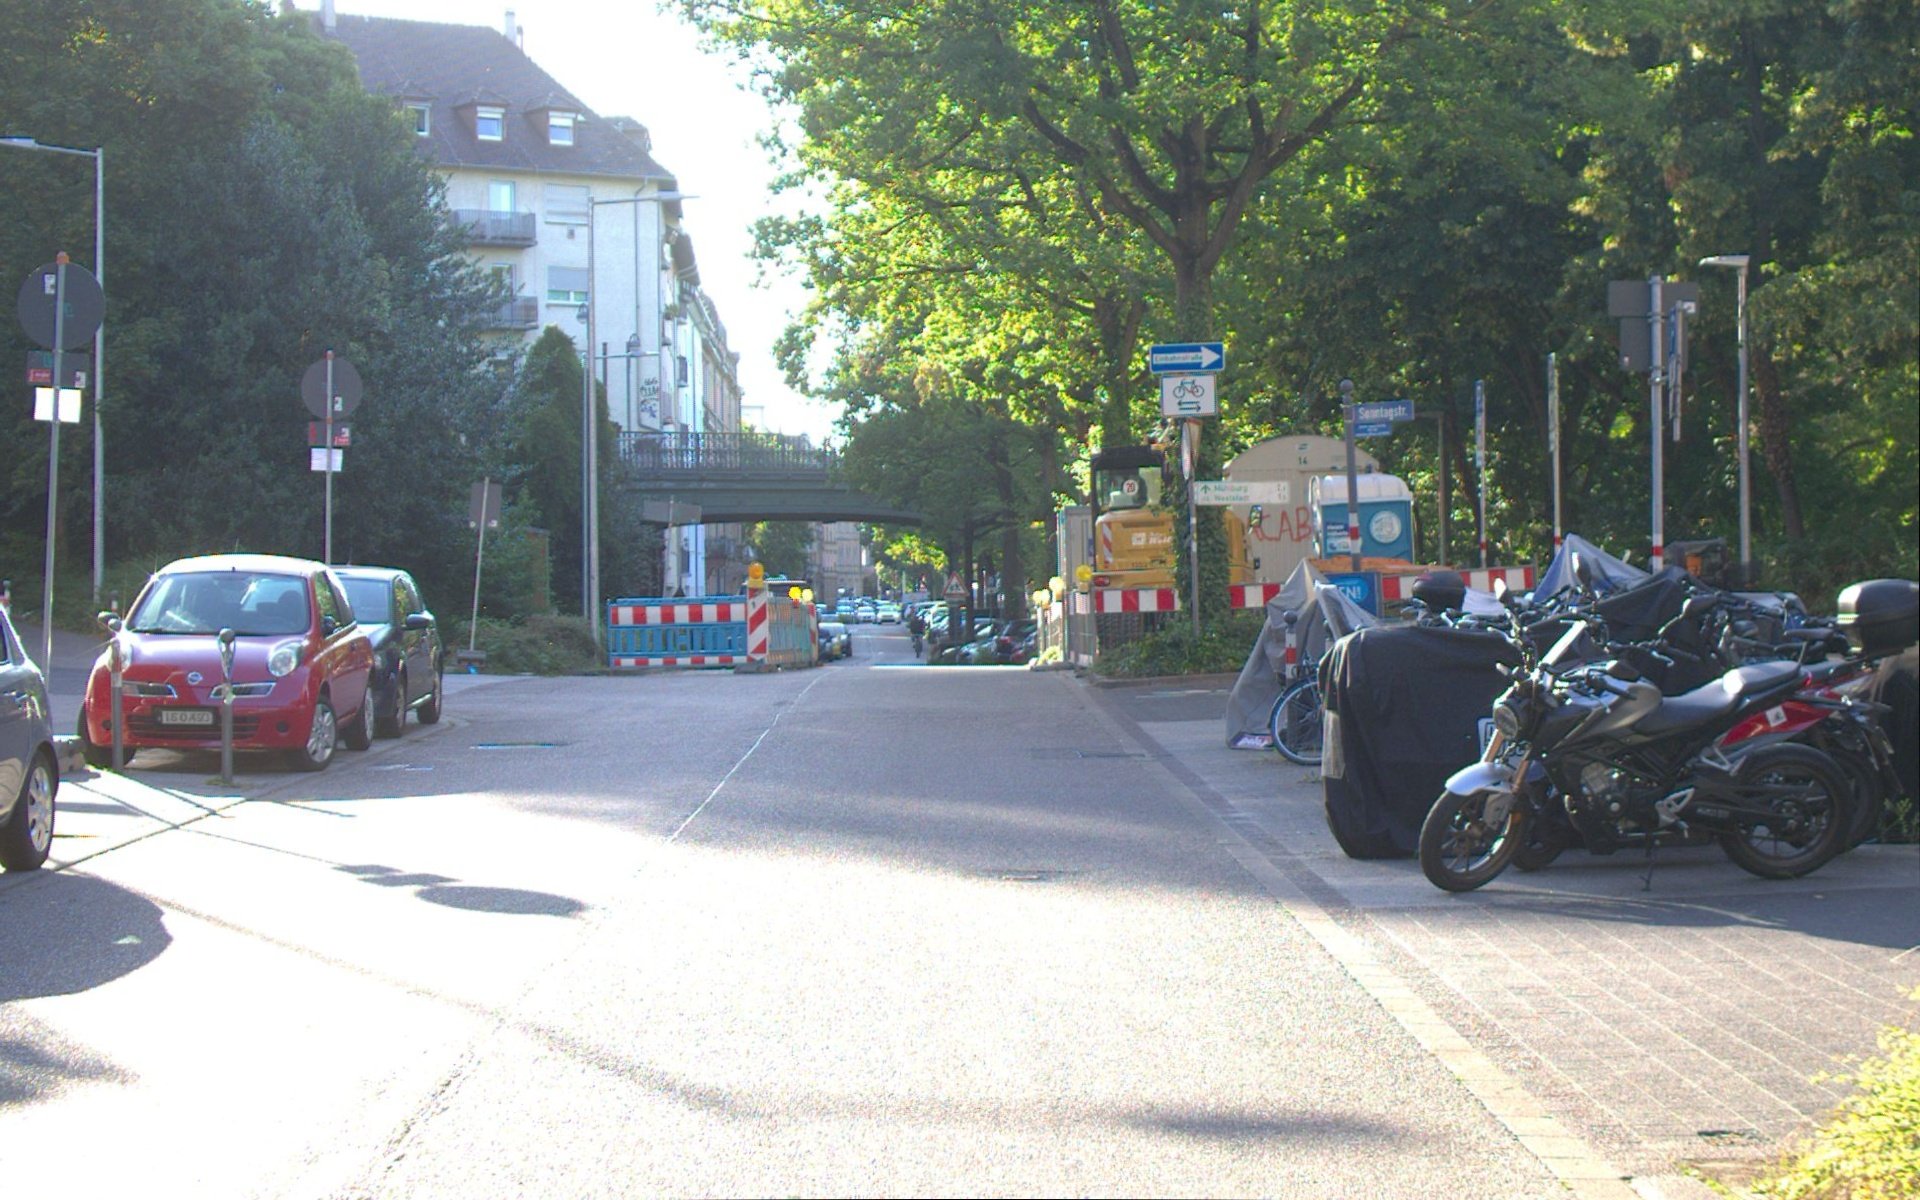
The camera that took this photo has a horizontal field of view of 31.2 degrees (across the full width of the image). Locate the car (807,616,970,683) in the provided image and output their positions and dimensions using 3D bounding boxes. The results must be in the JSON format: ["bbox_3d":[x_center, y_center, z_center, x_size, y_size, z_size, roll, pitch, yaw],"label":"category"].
[{"bbox_3d":[-1.976,1.361,93.915,4.387,1.696,1.917,1,-2,-3],"label":"car"}]

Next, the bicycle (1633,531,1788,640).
[{"bbox_3d":[9.185,-0.190,42.180,1.023,1.281,2.148,-2,1,-13],"label":"bicycle"}]

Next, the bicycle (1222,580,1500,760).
[{"bbox_3d":[2.823,0.488,24.215,1.924,1.242,0.303,0,1,-6],"label":"bicycle"}]

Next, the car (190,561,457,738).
[{"bbox_3d":[-5.558,0.385,30.423,1.669,1.453,4.000,0,1,-1],"label":"car"}]

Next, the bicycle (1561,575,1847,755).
[{"bbox_3d":[5.238,0.449,24.227,1.924,1.242,0.452,0,1,-6],"label":"bicycle"}]

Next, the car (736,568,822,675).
[{"bbox_3d":[-4.516,0.587,85.937,2.047,2.489,5.697,1,-2,-3],"label":"car"}]

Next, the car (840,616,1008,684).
[{"bbox_3d":[-0.972,1.341,91.593,4.387,1.696,1.917,1,-2,-3],"label":"car"}]

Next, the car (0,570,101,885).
[{"bbox_3d":[-5.286,0.586,15.639,1.725,1.432,3.996,1,1,0],"label":"car"}]

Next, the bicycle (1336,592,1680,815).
[{"bbox_3d":[3.124,0.581,19.615,1.924,1.242,0.303,0,1,-6],"label":"bicycle"}]

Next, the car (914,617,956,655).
[{"bbox_3d":[-1.086,1.562,148.912,1.775,1.604,4.402,-1,0,-1],"label":"car"}]

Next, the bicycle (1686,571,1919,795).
[{"bbox_3d":[5.138,0.457,19.526,1.924,1.242,0.479,0,1,-6],"label":"bicycle"}]

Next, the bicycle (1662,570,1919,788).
[{"bbox_3d":[5.102,0.448,20.040,1.924,1.242,0.479,0,1,-6],"label":"bicycle"}]

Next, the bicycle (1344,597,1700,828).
[{"bbox_3d":[3.098,0.612,18.971,1.924,1.242,0.303,0,1,-6],"label":"bicycle"}]

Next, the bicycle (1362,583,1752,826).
[{"bbox_3d":[3.141,0.537,18.163,1.924,1.242,0.648,0,1,-6],"label":"bicycle"}]

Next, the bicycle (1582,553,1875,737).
[{"bbox_3d":[5.296,0.300,23.718,1.924,1.242,0.479,0,1,-6],"label":"bicycle"}]

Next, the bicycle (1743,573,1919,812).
[{"bbox_3d":[5.227,0.479,18.385,1.924,1.242,0.648,0,1,-6],"label":"bicycle"}]

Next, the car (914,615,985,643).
[{"bbox_3d":[-0.690,1.813,214.317,4.387,1.604,1.781,1,-2,0],"label":"car"}]

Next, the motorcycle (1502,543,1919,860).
[{"bbox_3d":[3.567,0.446,15.728,2.023,1.357,0.694,-2,1,0],"label":"motorcycle"}]

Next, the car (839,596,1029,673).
[{"bbox_3d":[-0.639,0.825,81.220,4.387,1.696,1.917,1,-2,-3],"label":"car"}]

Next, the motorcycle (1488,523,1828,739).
[{"bbox_3d":[5.034,0.216,24.856,2.282,1.526,0.756,0,0,-6],"label":"motorcycle"}]

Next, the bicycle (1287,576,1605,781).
[{"bbox_3d":[3.001,0.477,21.238,1.924,1.242,0.303,0,1,-6],"label":"bicycle"}]

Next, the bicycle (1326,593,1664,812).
[{"bbox_3d":[3.102,0.589,19.949,1.924,1.242,0.303,0,1,-6],"label":"bicycle"}]

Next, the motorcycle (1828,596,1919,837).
[{"bbox_3d":[5.342,0.520,16.624,2.023,1.104,0.904,-2,1,-2],"label":"motorcycle"}]

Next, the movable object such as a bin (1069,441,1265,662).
[{"bbox_3d":[2.665,-0.594,43.593,1.995,2.690,3.108,0,0,13],"label":"movable object such as a bin"}]

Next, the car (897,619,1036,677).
[{"bbox_3d":[0.192,1.571,111.580,4.387,1.779,1.917,1,-2,-3],"label":"car"}]

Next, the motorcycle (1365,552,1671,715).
[{"bbox_3d":[4.686,0.270,28.946,2.364,1.337,0.941,0,0,-10],"label":"motorcycle"}]

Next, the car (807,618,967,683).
[{"bbox_3d":[-2.067,1.430,96.190,4.387,1.696,1.917,1,-2,-3],"label":"car"}]

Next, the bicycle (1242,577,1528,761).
[{"bbox_3d":[2.908,0.466,23.541,1.924,1.242,0.303,0,1,-6],"label":"bicycle"}]

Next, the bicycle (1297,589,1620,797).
[{"bbox_3d":[3.030,0.558,20.903,1.924,1.242,0.303,0,1,-6],"label":"bicycle"}]

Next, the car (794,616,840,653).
[{"bbox_3d":[-5.943,1.447,142.973,1.812,1.393,3.975,-2,-2,-2],"label":"car"}]

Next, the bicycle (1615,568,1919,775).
[{"bbox_3d":[5.027,0.428,21.076,1.924,1.242,0.479,0,1,-6],"label":"bicycle"}]

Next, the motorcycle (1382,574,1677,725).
[{"bbox_3d":[4.569,0.387,27.527,2.284,1.176,0.970,0,0,13],"label":"motorcycle"}]

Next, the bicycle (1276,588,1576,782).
[{"bbox_3d":[3.047,0.549,22.500,1.924,1.242,0.303,0,1,-6],"label":"bicycle"}]

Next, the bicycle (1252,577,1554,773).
[{"bbox_3d":[2.866,0.479,22.260,1.924,1.242,0.303,0,1,-6],"label":"bicycle"}]

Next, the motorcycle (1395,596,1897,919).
[{"bbox_3d":[2.932,0.659,14.786,2.014,1.322,0.621,-1,1,-4],"label":"motorcycle"}]

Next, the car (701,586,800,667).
[{"bbox_3d":[-3.987,0.533,65.967,1.715,1.413,4.106,-2,-2,-2],"label":"car"}]

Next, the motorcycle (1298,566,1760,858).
[{"bbox_3d":[2.737,0.523,16.707,2.023,1.280,0.904,-3,1,-2],"label":"motorcycle"}]

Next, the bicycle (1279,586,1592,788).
[{"bbox_3d":[2.983,0.540,21.578,1.924,1.242,0.303,0,1,-6],"label":"bicycle"}]

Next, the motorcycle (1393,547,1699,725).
[{"bbox_3d":[4.504,0.273,26.432,2.284,1.337,0.656,0,0,11],"label":"motorcycle"}]

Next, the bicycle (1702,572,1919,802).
[{"bbox_3d":[5.108,0.468,18.980,1.924,1.242,0.479,0,1,-6],"label":"bicycle"}]

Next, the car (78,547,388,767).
[{"bbox_3d":[-5.400,0.371,25.970,1.669,1.525,4.000,0,1,-3],"label":"car"}]

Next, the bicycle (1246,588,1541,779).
[{"bbox_3d":[2.876,0.546,22.827,1.924,1.242,0.303,0,1,-6],"label":"bicycle"}]

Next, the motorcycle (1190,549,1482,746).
[{"bbox_3d":[2.773,0.330,25.357,1.935,1.408,0.939,0,1,28],"label":"motorcycle"}]

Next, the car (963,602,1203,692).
[{"bbox_3d":[2.326,0.906,65.655,4.386,1.601,1.917,1,-2,-4],"label":"car"}]

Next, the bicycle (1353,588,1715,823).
[{"bbox_3d":[3.112,0.565,18.663,1.924,1.242,0.303,0,1,-6],"label":"bicycle"}]

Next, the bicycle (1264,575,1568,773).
[{"bbox_3d":[2.906,0.465,21.928,1.905,1.242,0.303,0,1,-6],"label":"bicycle"}]

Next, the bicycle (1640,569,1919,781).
[{"bbox_3d":[5.060,0.438,20.544,1.924,1.242,0.395,0,1,-6],"label":"bicycle"}]

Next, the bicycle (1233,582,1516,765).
[{"bbox_3d":[2.877,0.503,23.862,1.924,1.242,0.303,0,1,-6],"label":"bicycle"}]

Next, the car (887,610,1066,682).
[{"bbox_3d":[0.389,1.172,86.167,4.387,1.696,1.917,1,-2,-3],"label":"car"}]
